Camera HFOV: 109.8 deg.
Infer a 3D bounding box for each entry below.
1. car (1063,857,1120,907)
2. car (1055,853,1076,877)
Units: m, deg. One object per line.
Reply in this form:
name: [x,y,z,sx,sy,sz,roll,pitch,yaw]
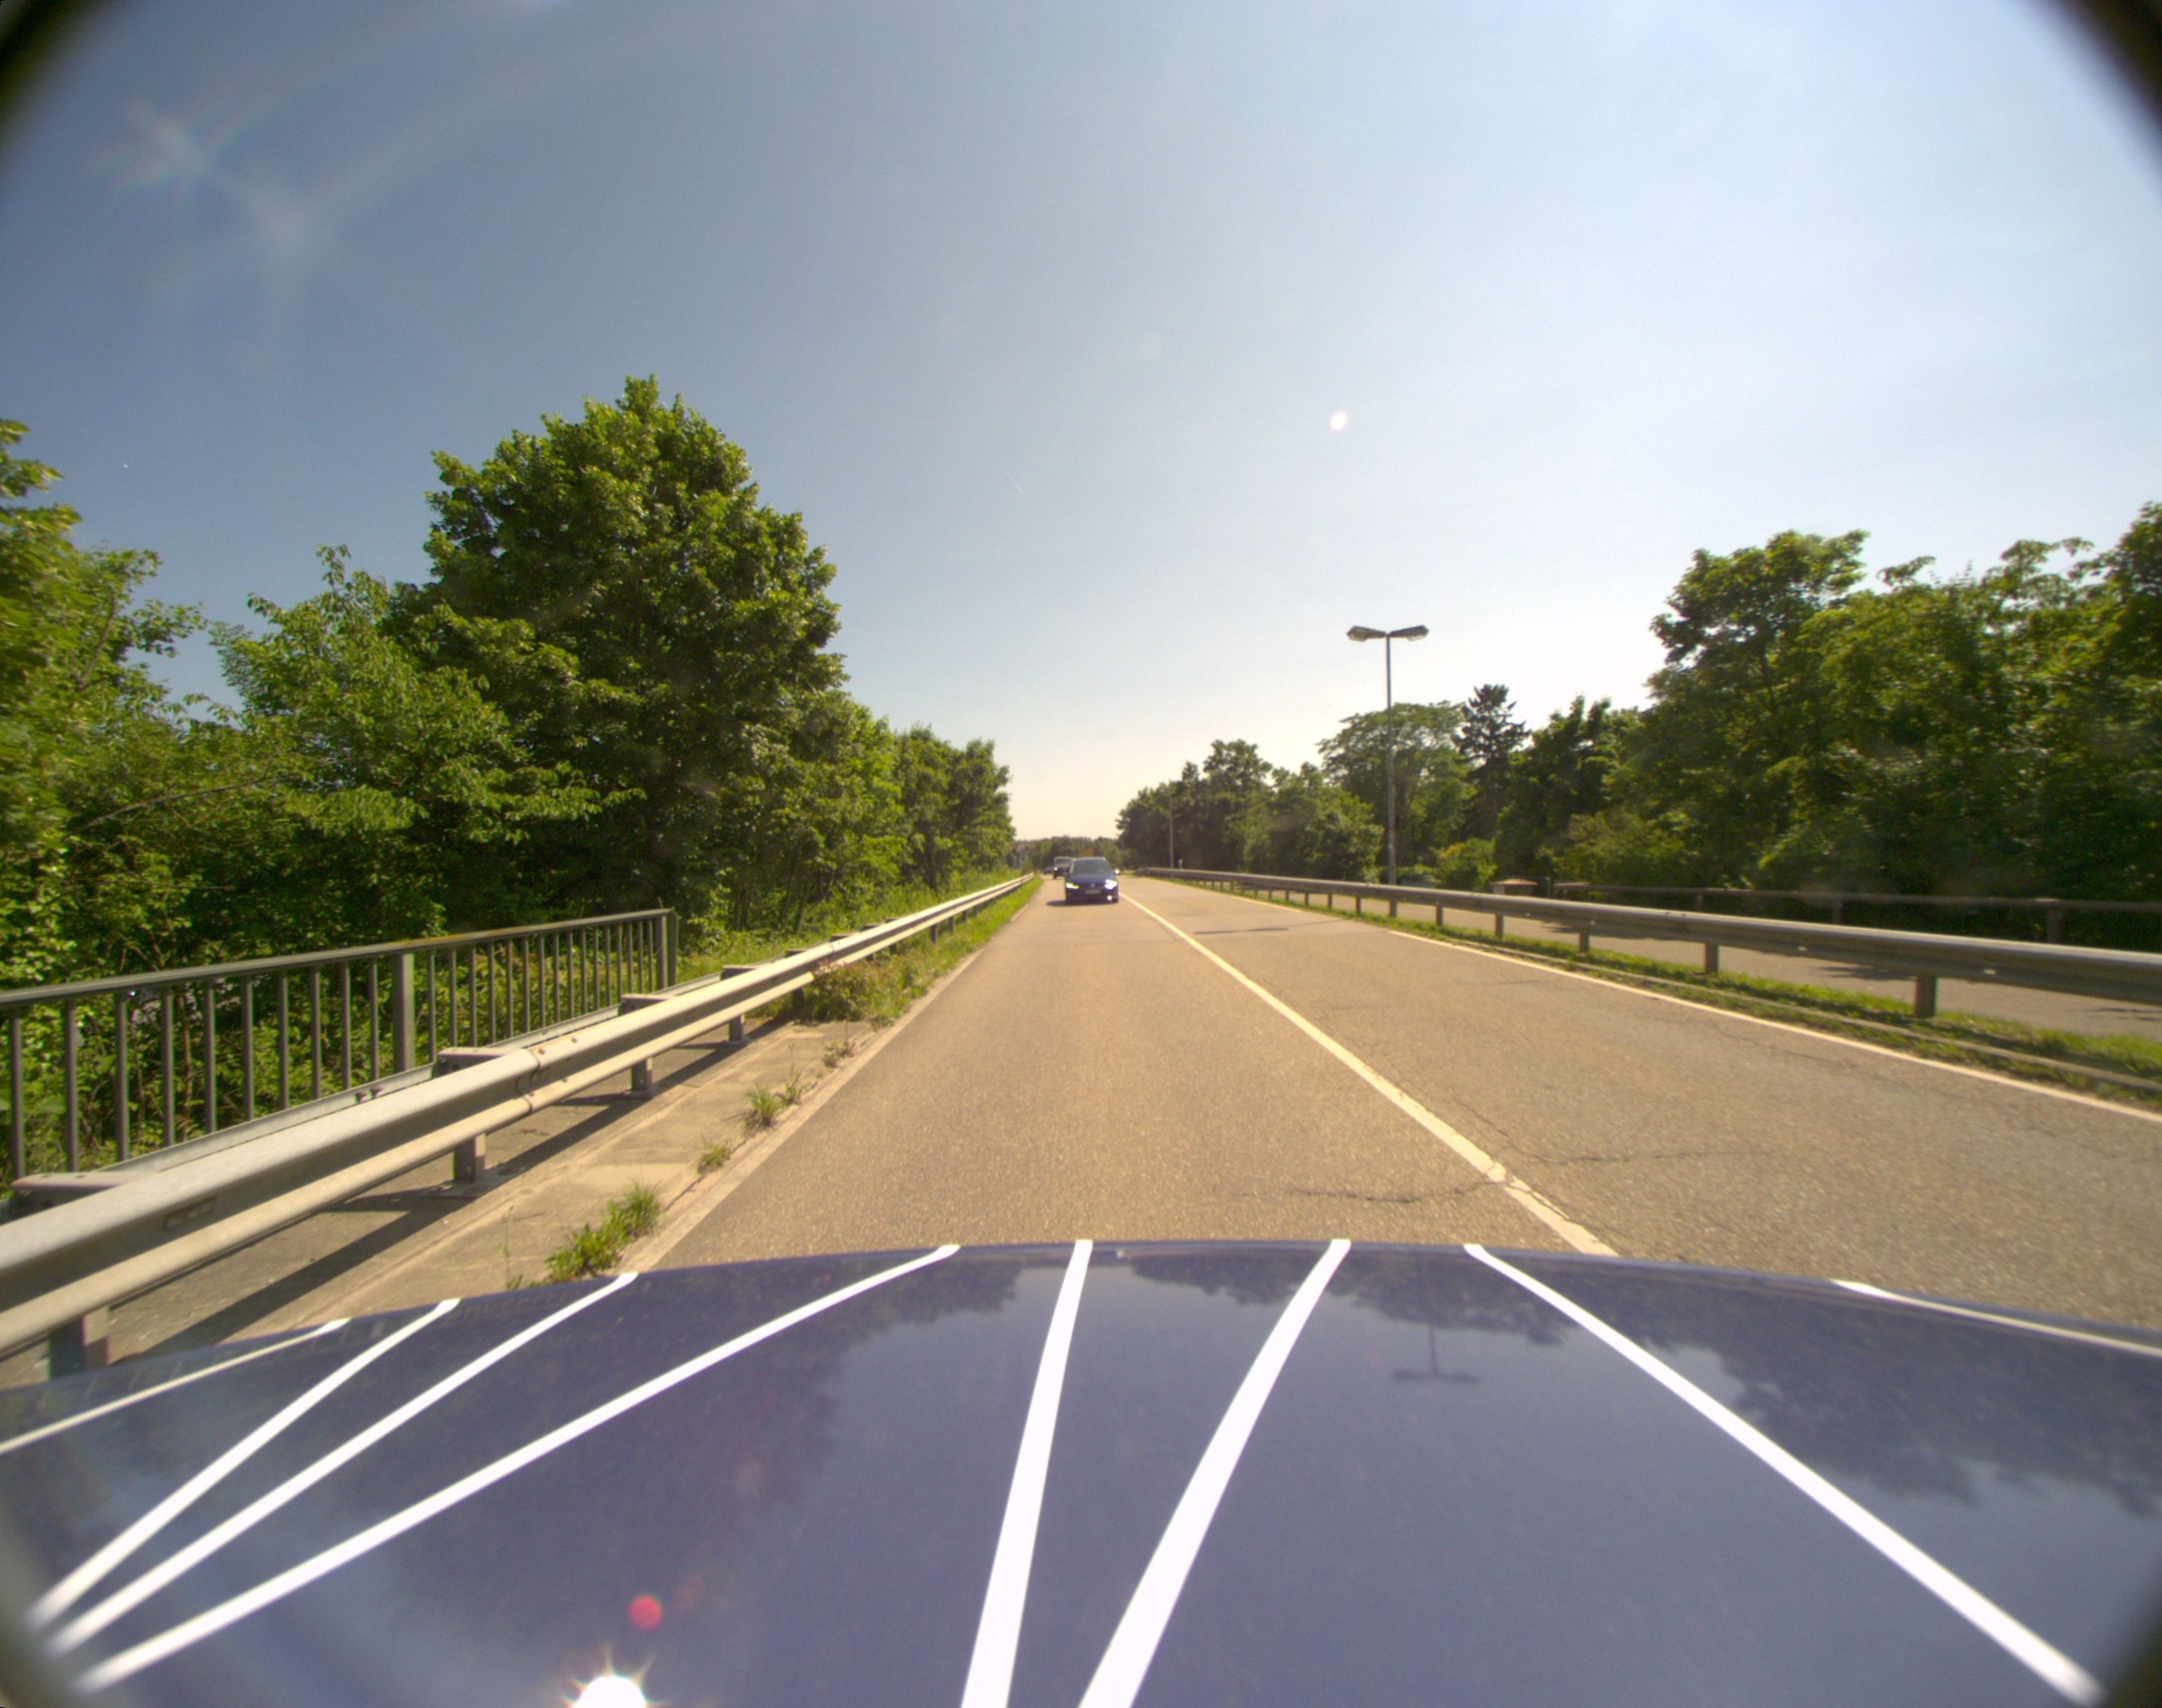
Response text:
car: [0.305,0.916,26.685,1.828,1.591,4.195,0,0,-1]
car: [-1.380,0.998,67.710,1.779,2.006,4.001,0,-1,0]
